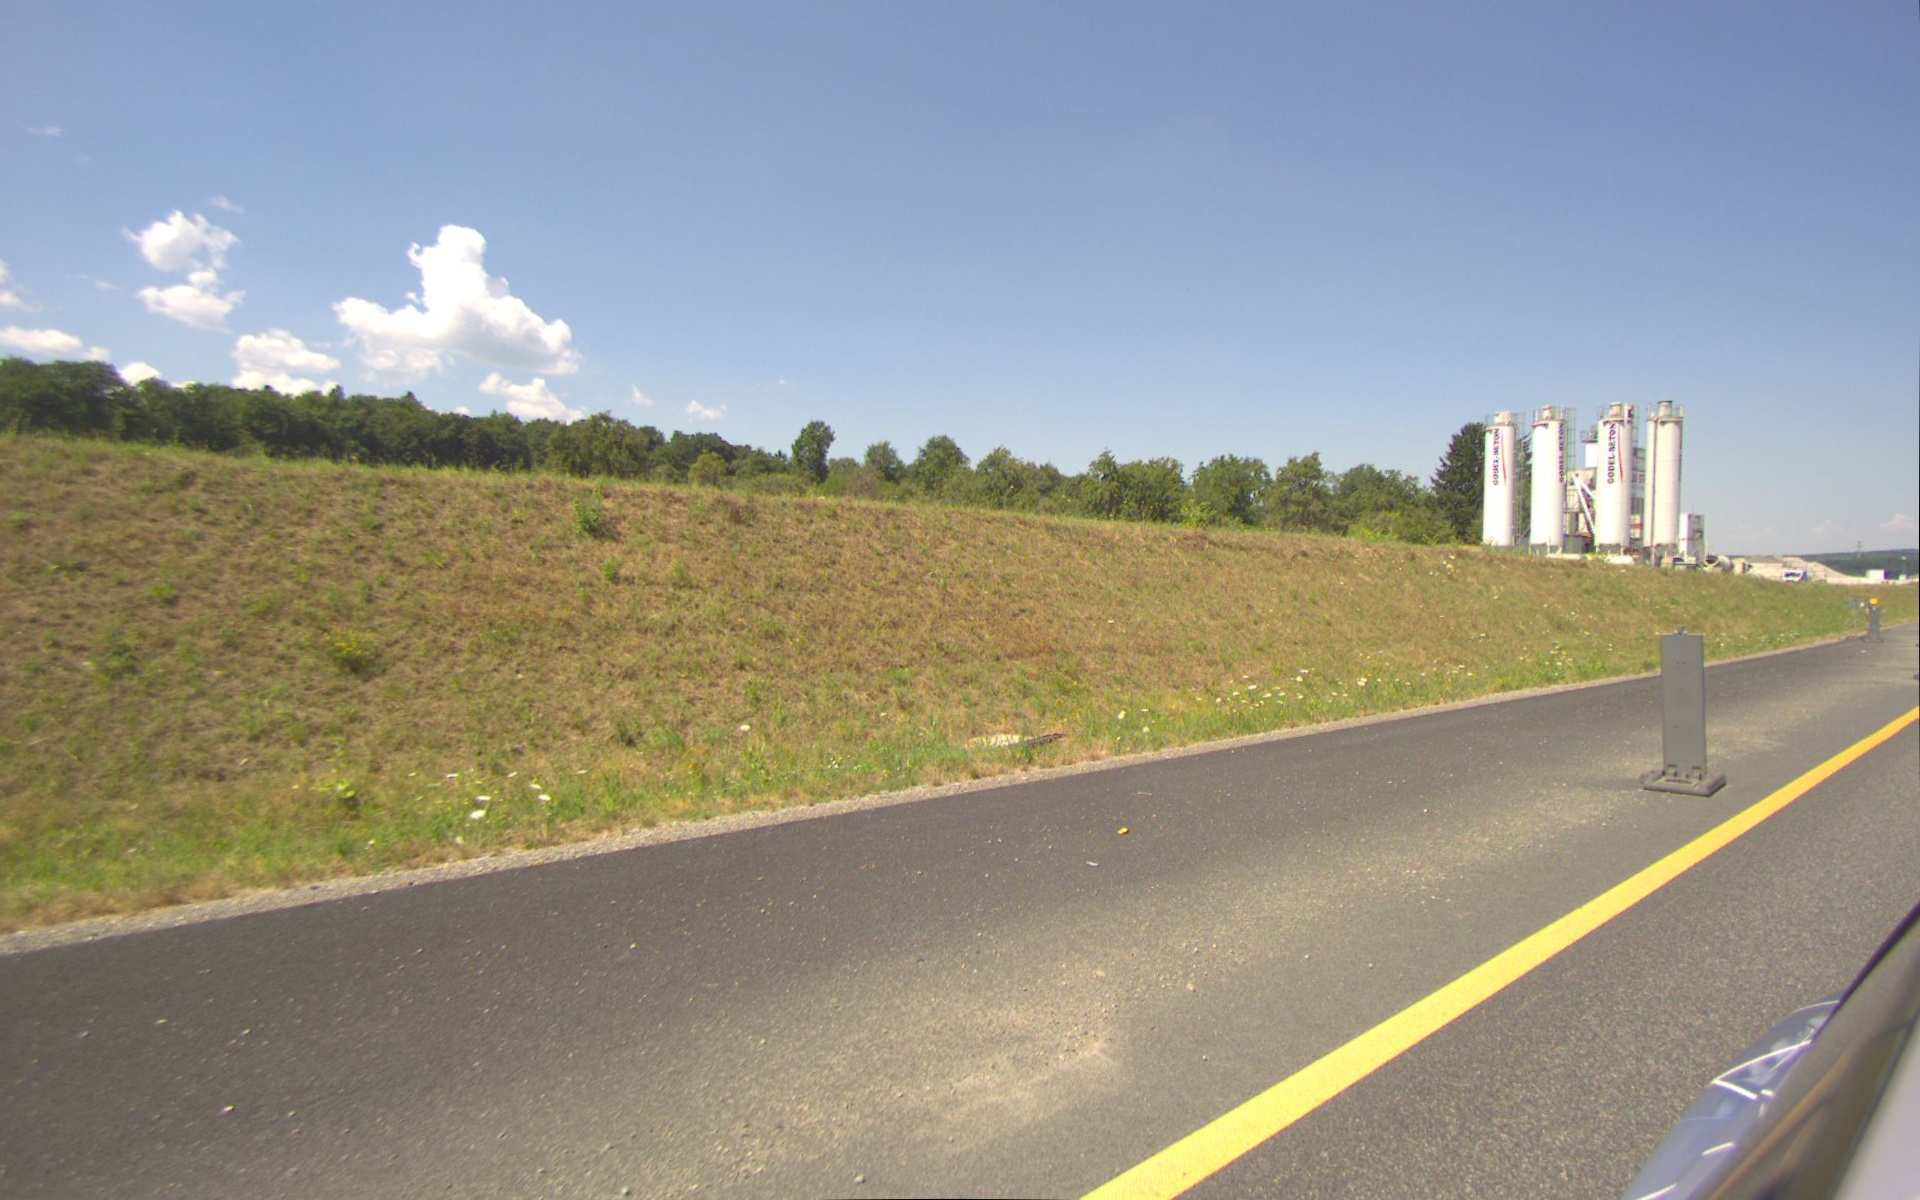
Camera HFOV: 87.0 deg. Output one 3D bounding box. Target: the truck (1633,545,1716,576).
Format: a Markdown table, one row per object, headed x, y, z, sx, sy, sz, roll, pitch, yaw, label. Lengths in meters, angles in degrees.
| x | y | z | sx | sy | sz | roll | pitch | yaw | label |
| --- | --- | --- | --- | --- | --- | --- | --- | --- | --- |
| 63.322 | -3.494 | 89.795 | 5.228 | 2.576 | 2.894 | -1 | 0 | 13 | truck |

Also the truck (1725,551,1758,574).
| x | y | z | sx | sy | sz | roll | pitch | yaw | label |
| --- | --- | --- | --- | --- | --- | --- | --- | --- | --- |
| 89.094 | -4.230 | 115.384 | 3.967 | 2.577 | 2.022 | -1 | 0 | -38 | truck |

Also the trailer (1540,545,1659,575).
| x | y | z | sx | sy | sz | roll | pitch | yaw | label |
| --- | --- | --- | --- | --- | --- | --- | --- | --- | --- |
| 58.580 | -3.607 | 92.942 | 2.424 | 2.639 | 8.902 | -1 | 2 | -44 | trailer |

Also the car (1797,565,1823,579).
| x | y | z | sx | sy | sz | roll | pitch | yaw | label |
| --- | --- | --- | --- | --- | --- | --- | --- | --- | --- |
| 106.488 | -3.507 | 126.788 | 3.540 | 1.784 | 1.989 | -1 | 1 | -41 | car |

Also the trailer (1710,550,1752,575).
| x | y | z | sx | sy | sz | roll | pitch | yaw | label |
| --- | --- | --- | --- | --- | --- | --- | --- | --- | --- |
| 86.280 | -4.161 | 113.203 | 6.809 | 2.677 | 1.999 | -1 | 0 | -38 | trailer |
